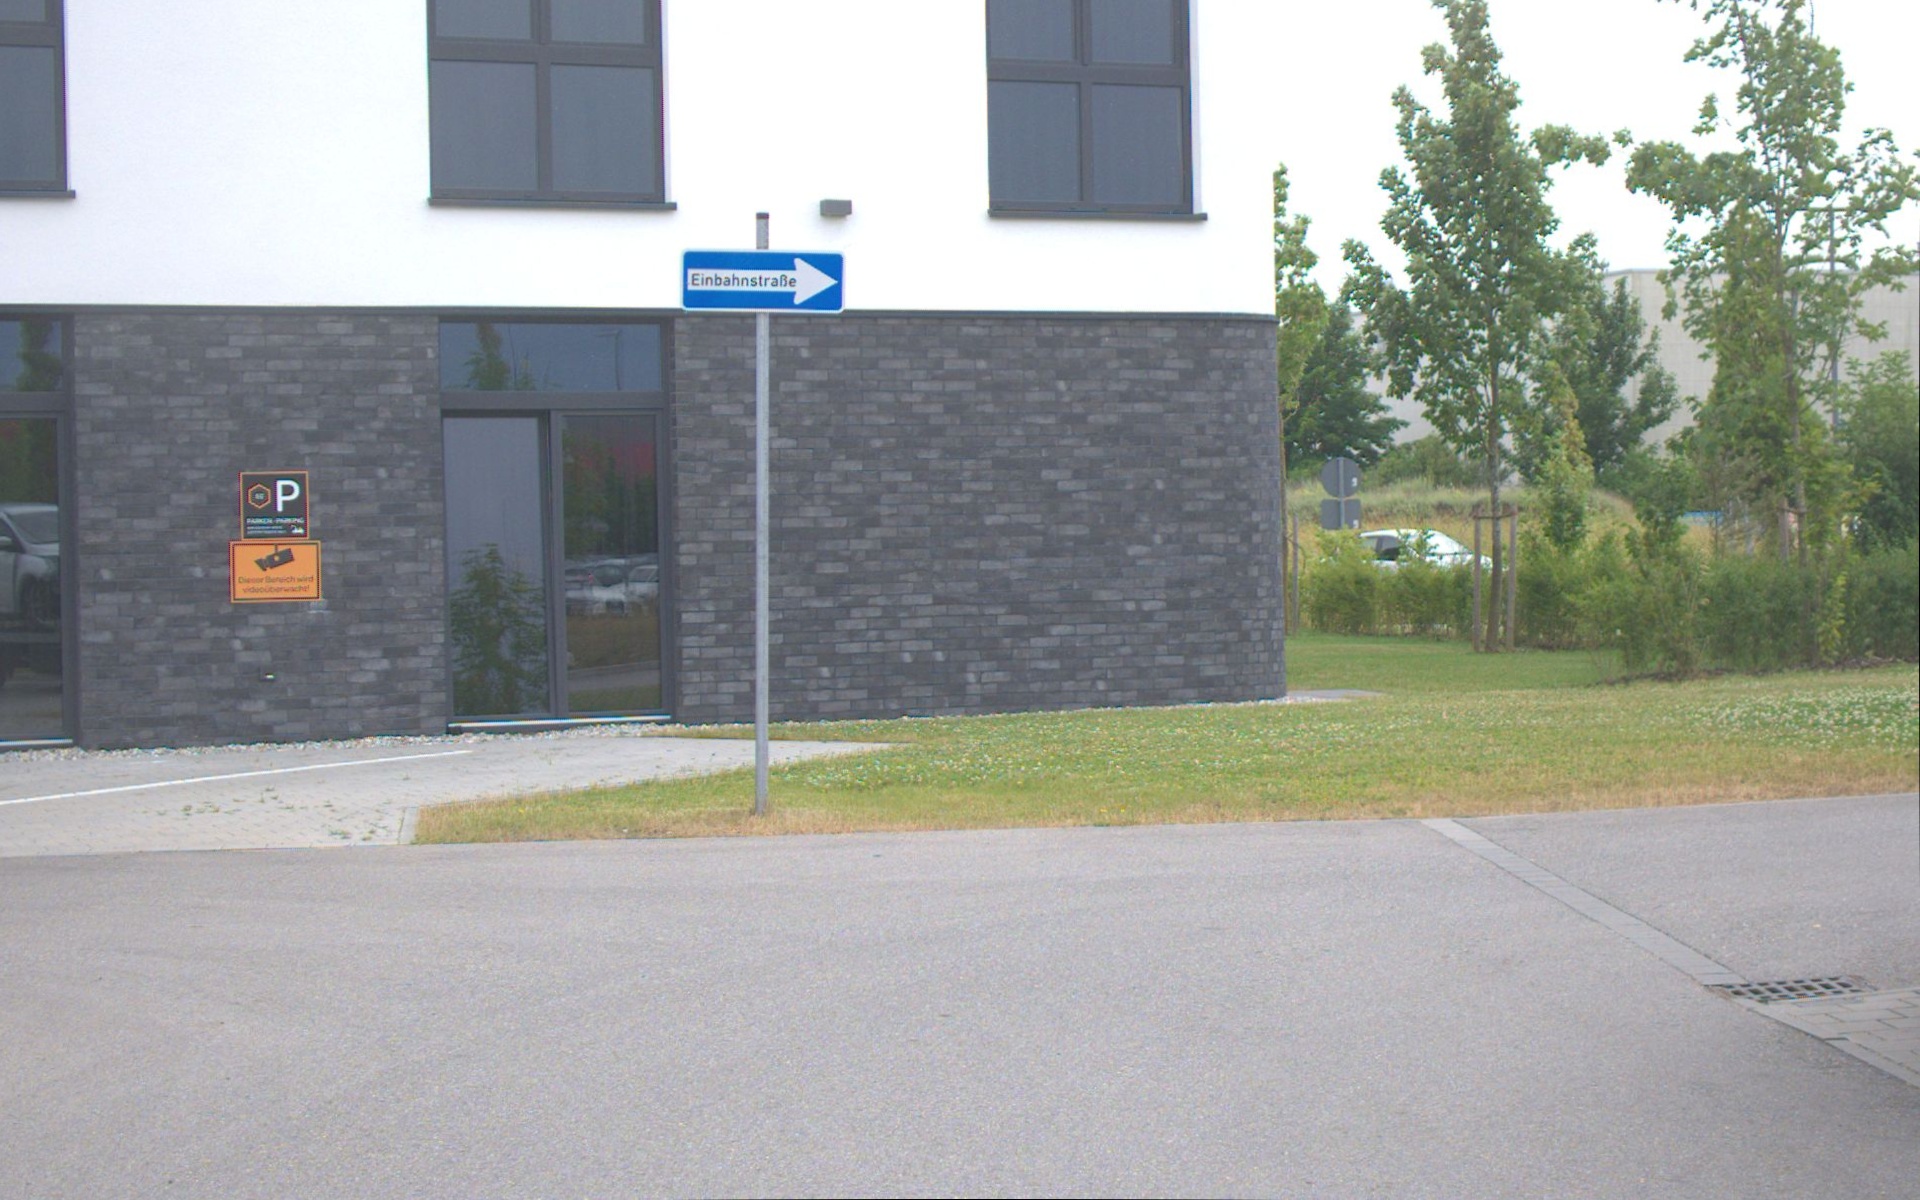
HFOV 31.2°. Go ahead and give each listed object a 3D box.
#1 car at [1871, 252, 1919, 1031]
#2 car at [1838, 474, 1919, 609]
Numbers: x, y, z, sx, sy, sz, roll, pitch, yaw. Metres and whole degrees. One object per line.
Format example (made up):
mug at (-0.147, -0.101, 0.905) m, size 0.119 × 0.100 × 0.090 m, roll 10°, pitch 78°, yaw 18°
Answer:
car at (3.911, 0.175, 6.765) m, size 2.194 × 2.314 × 7.857 m, roll -1°, pitch 1°, yaw 1°
car at (14.671, -0.858, 49.650) m, size 1.993 × 1.917 × 4.849 m, roll -2°, pitch 2°, yaw -10°
